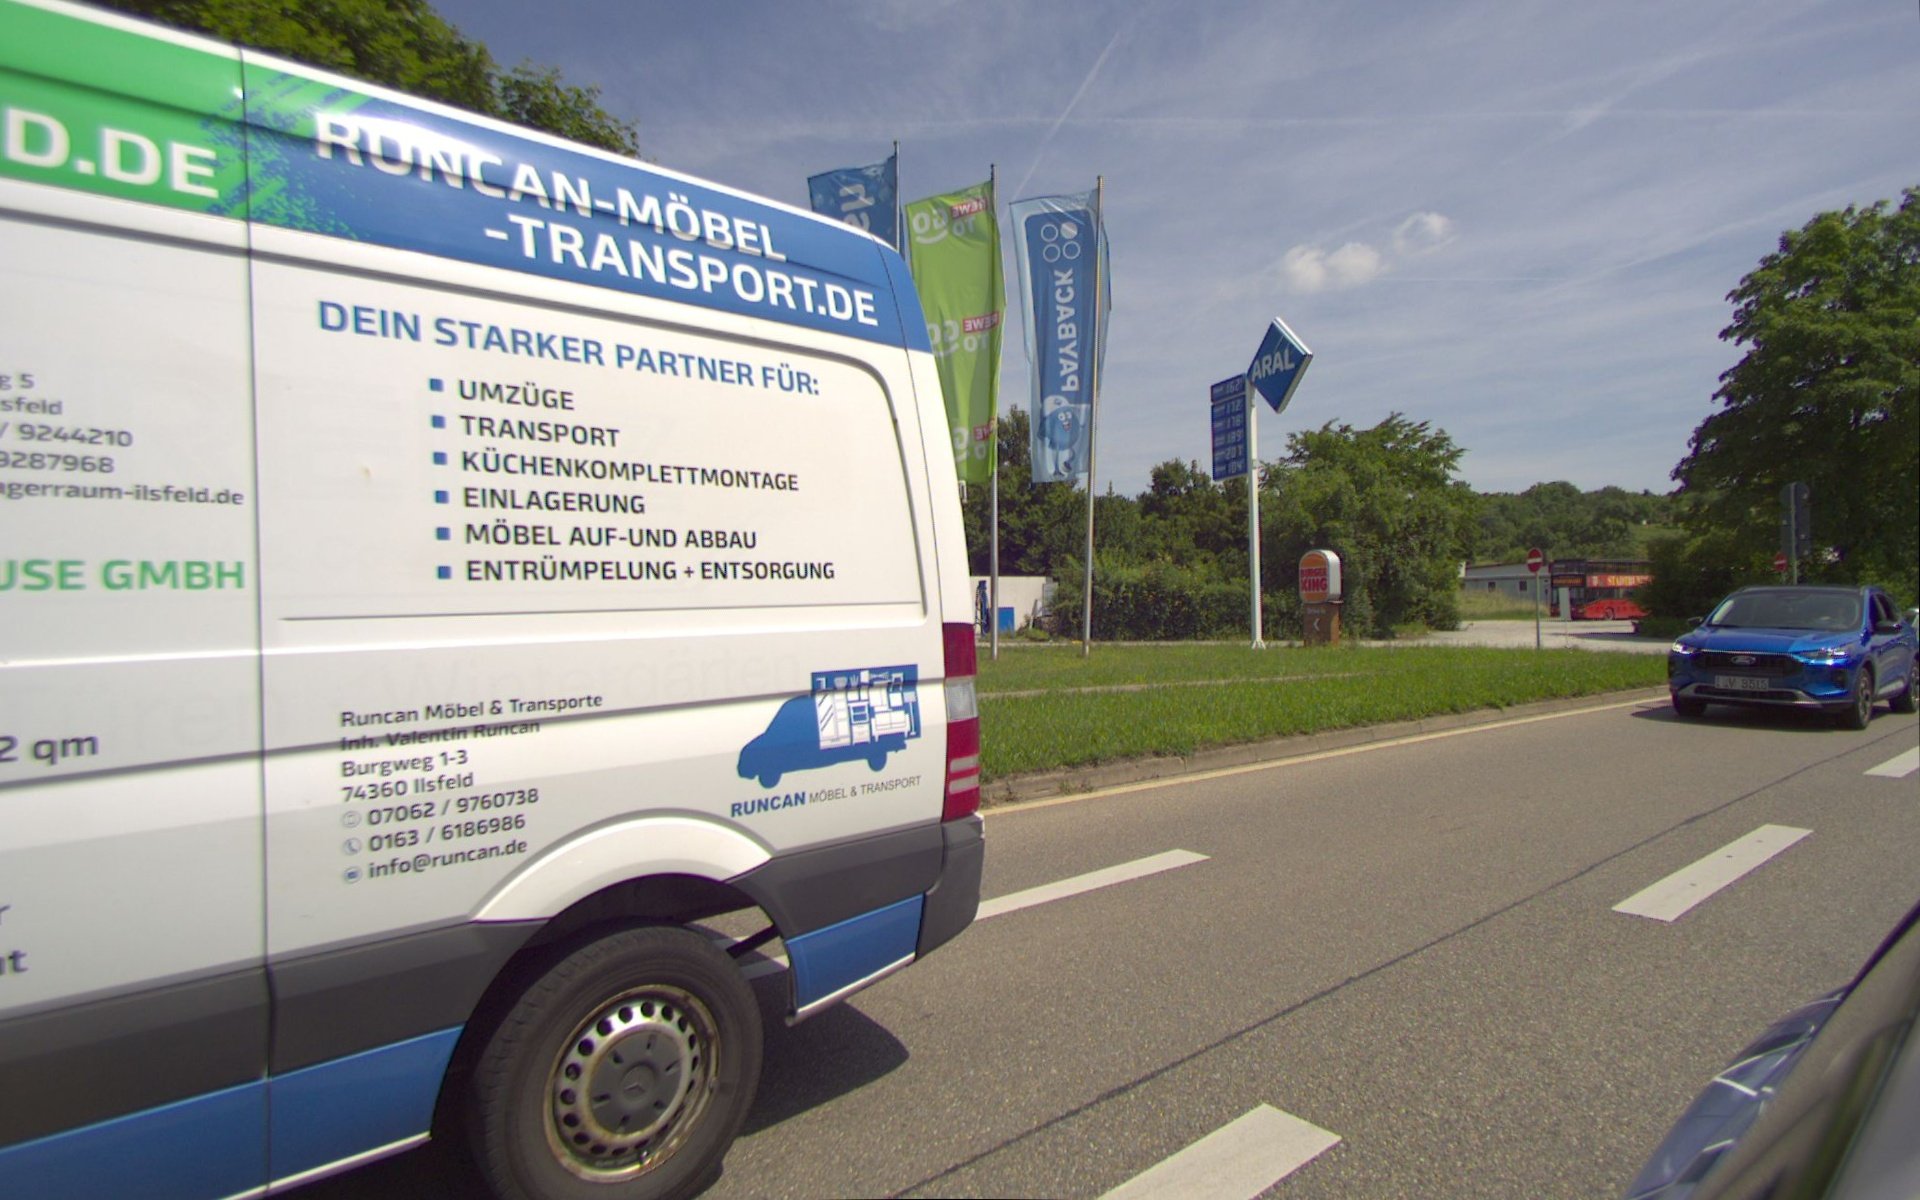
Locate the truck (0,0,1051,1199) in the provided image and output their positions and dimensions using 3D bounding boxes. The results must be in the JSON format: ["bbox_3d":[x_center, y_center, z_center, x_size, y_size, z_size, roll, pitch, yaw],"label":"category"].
[{"bbox_3d":[-2.605,-0.002,2.071,5.838,2.771,2.071,-1,1,-40],"label":"truck"}]

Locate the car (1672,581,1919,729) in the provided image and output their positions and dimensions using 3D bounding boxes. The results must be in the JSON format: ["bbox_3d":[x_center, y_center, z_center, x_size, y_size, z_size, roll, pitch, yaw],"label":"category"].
[{"bbox_3d":[10.848,0.564,12.850,4.308,1.578,1.783,0,1,-38],"label":"car"}]

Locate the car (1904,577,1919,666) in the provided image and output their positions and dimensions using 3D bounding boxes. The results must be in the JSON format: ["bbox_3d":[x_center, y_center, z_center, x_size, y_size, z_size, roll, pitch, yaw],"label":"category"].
[{"bbox_3d":[20.894,0.394,20.374,4.440,1.713,1.867,-1,1,-35],"label":"car"}]
